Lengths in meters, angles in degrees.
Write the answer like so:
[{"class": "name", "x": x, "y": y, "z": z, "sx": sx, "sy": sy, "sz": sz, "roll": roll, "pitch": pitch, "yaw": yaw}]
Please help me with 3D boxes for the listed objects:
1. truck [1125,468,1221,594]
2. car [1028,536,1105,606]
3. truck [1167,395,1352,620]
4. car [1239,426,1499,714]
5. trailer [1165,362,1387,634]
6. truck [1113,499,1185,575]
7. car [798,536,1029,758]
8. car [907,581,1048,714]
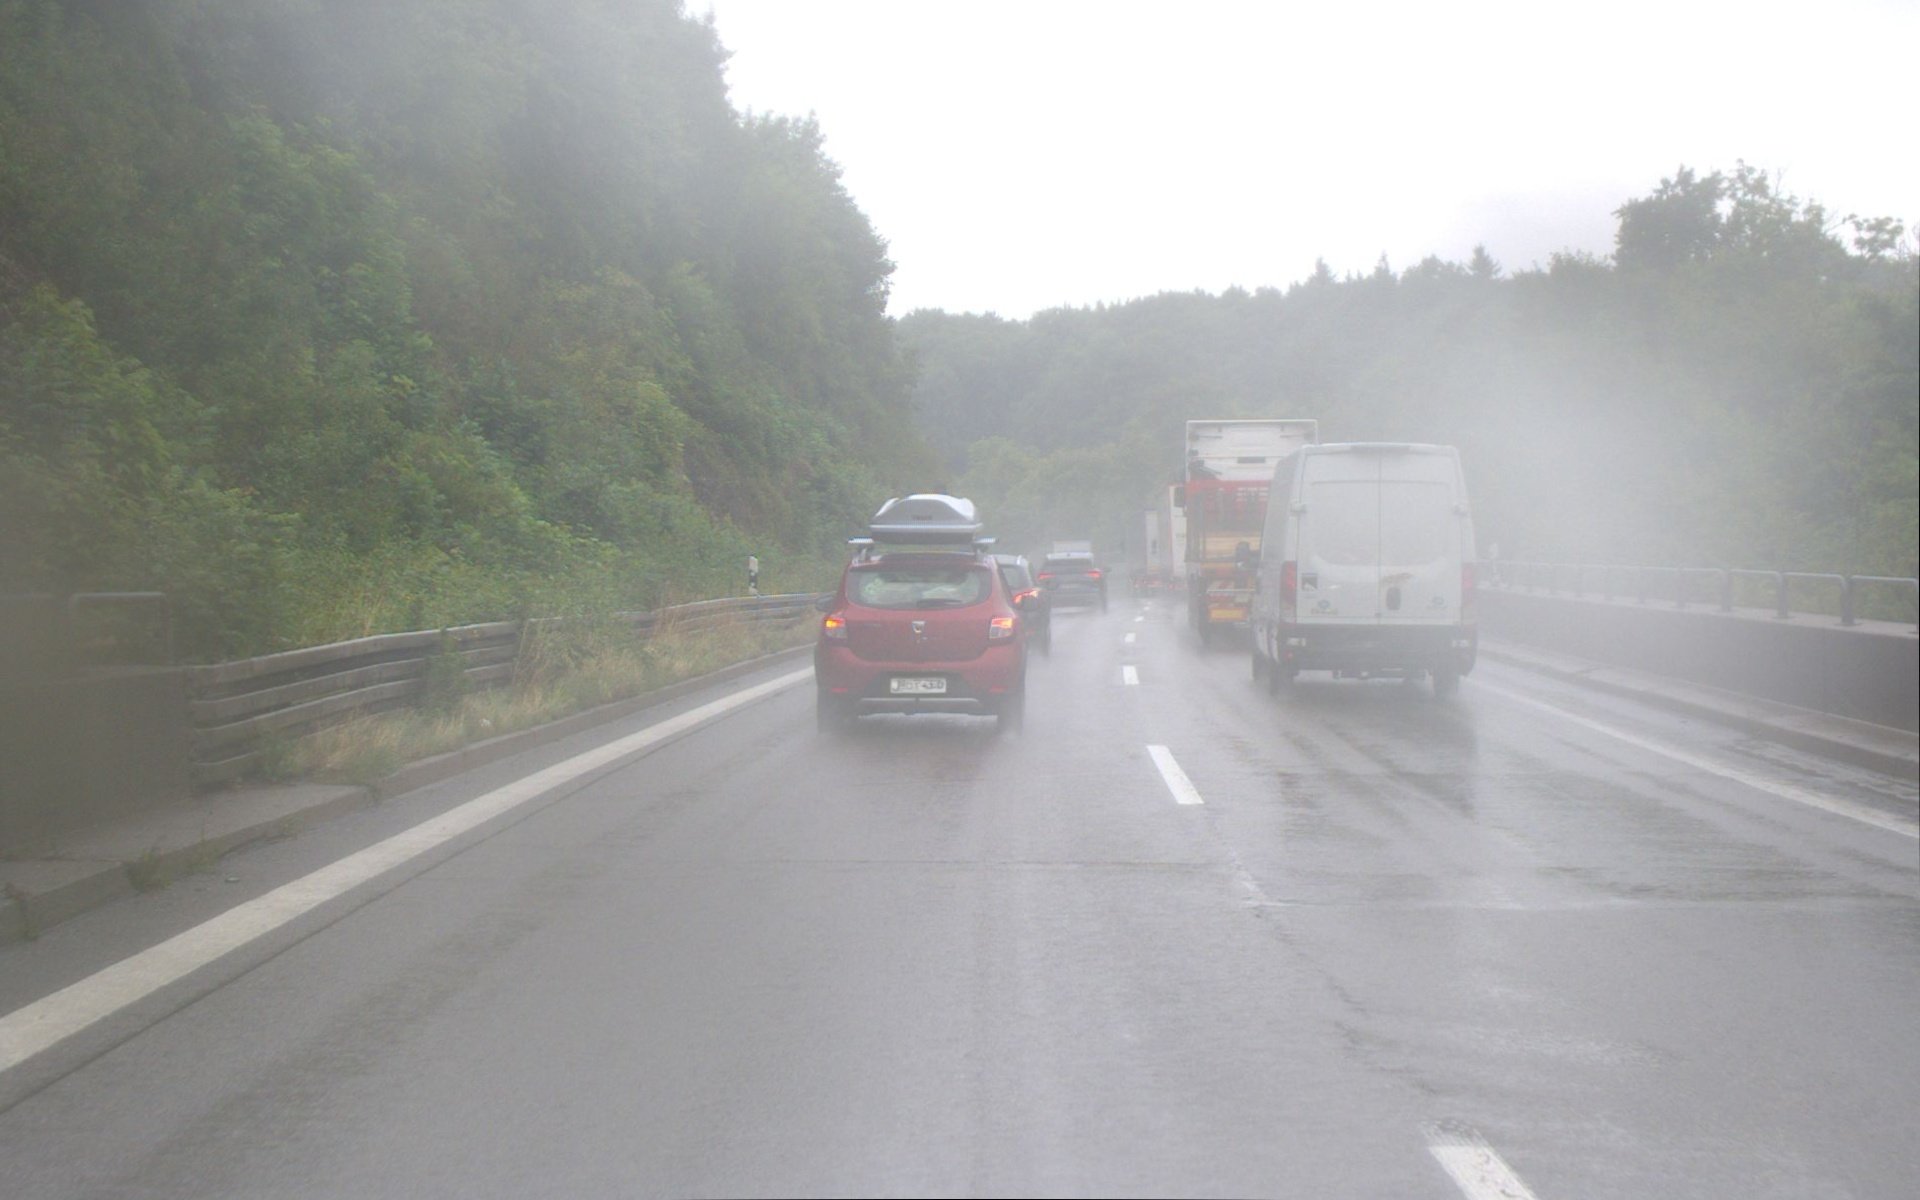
[{"class": "truck", "x": 7.381, "y": -2.360, "z": 120.186, "sx": 2.687, "sy": 4.080, "sz": 9.315, "roll": -3, "pitch": 0, "yaw": 1}, {"class": "car", "x": 2.784, "y": -0.768, "z": 90.180, "sx": 1.875, "sy": 1.700, "sz": 3.888, "roll": -3, "pitch": 0, "yaw": 2}, {"class": "truck", "x": 5.536, "y": -1.683, "z": 64.243, "sx": 3.220, "sy": 3.964, "sz": 5.438, "roll": -1, "pitch": 1, "yaw": 4}, {"class": "car", "x": 4.267, "y": -0.340, "z": 37.036, "sx": 2.206, "sy": 2.784, "sz": 7.382, "roll": 0, "pitch": 1, "yaw": 2}, {"class": "trailer", "x": 5.128, "y": -1.610, "z": 57.857, "sx": 3.219, "sy": 3.985, "sz": 13.522, "roll": -1, "pitch": 1, "yaw": 4}, {"class": "truck", "x": 8.590, "y": -2.878, "z": 157.087, "sx": 3.062, "sy": 3.300, "sz": 8.070, "roll": -1, "pitch": 1, "yaw": 2}, {"class": "car", "x": -0.345, "y": 0.360, "z": 29.469, "sx": 1.758, "sy": 1.679, "sz": 4.000, "roll": -3, "pitch": 0, "yaw": 1}, {"class": "car", "x": 0.259, "y": 0.637, "z": 48.818, "sx": 1.833, "sy": 1.709, "sz": 3.645, "roll": -3, "pitch": 0, "yaw": 1}]
